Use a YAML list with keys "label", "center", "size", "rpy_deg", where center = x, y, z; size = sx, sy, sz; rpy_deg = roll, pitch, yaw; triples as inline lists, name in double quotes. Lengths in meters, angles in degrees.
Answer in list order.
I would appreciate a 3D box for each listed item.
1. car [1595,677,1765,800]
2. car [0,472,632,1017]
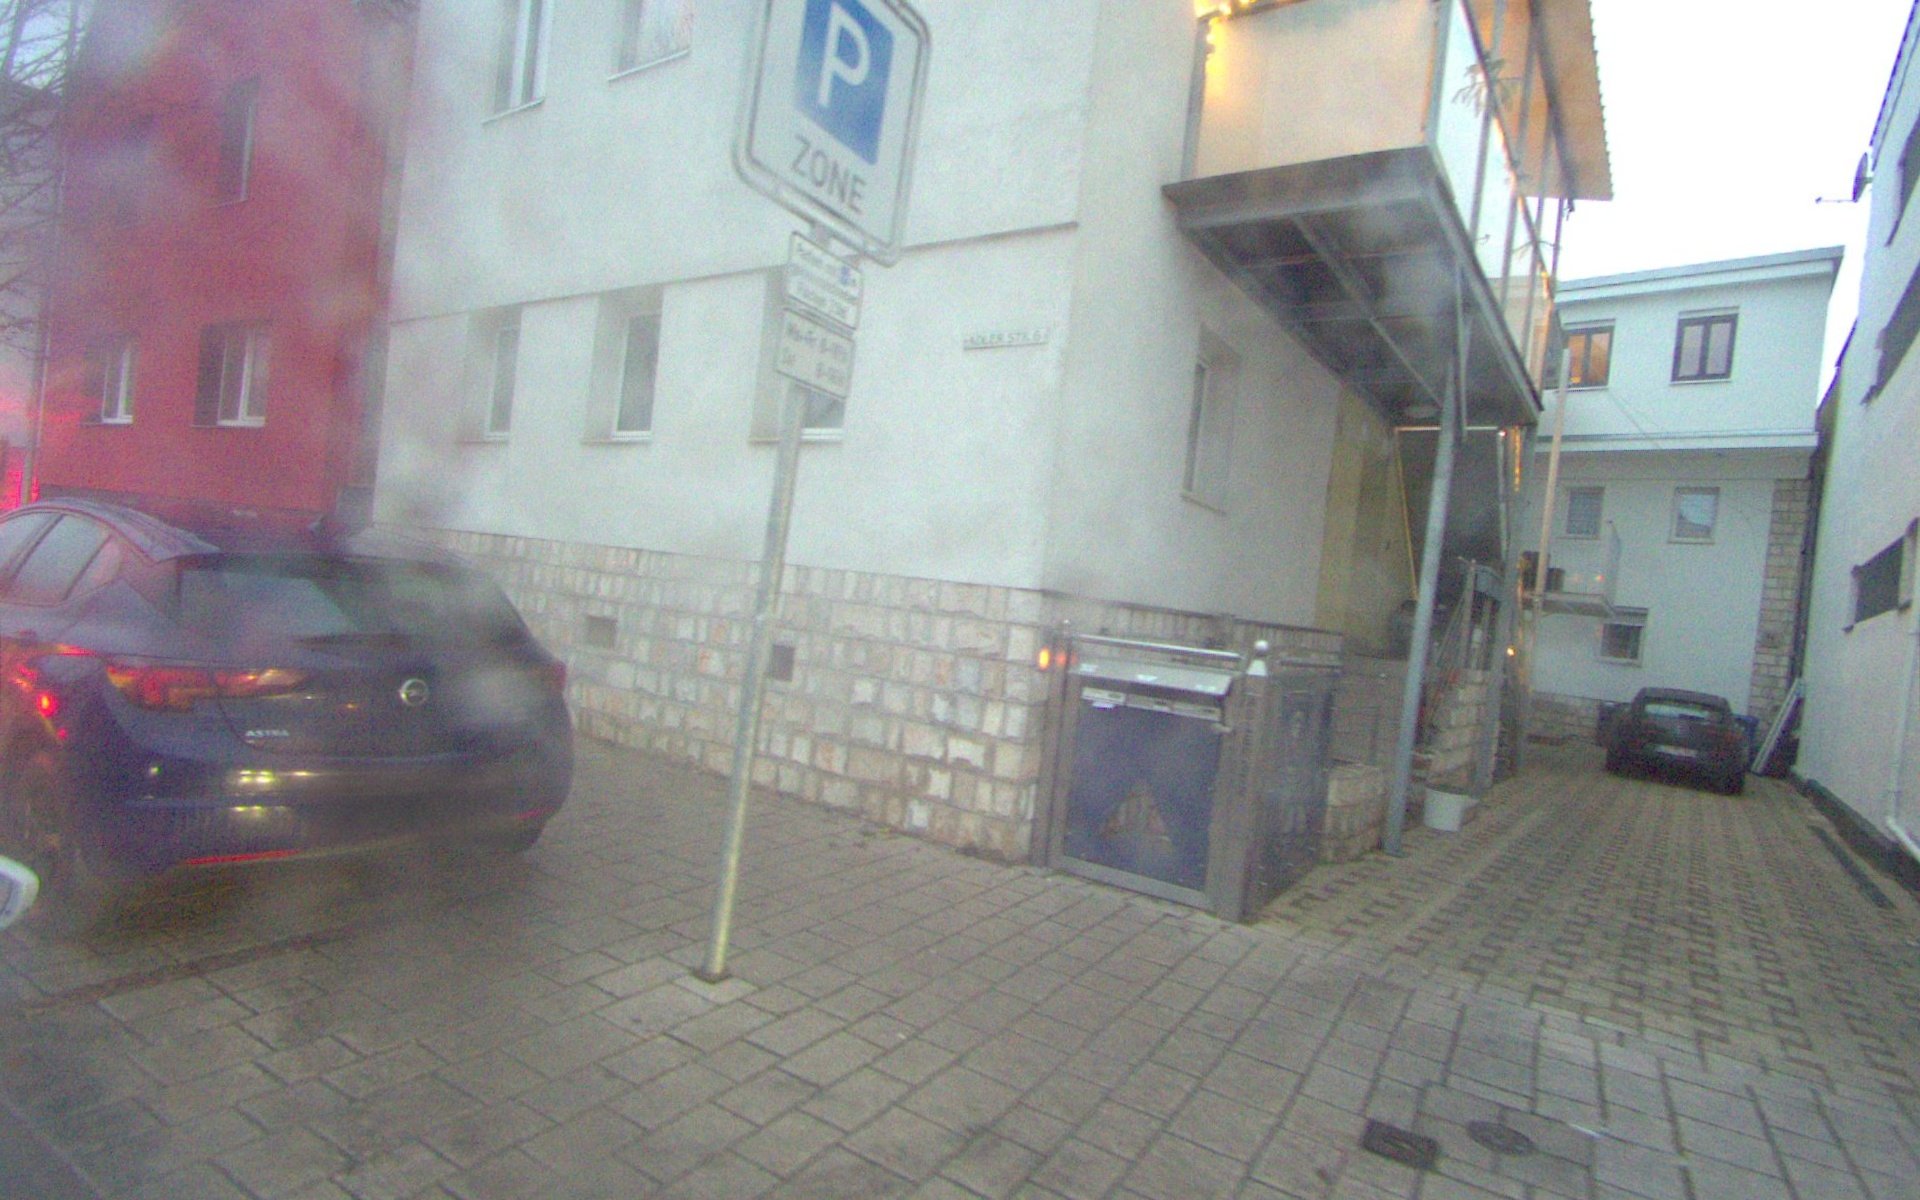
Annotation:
- label: "car"
  center: [11.912, 2.187, 16.812]
  size: [1.906, 1.434, 3.949]
  rpy_deg: [9, 2, 34]
- label: "car"
  center: [-3.622, 0.254, 4.704]
  size: [4.131, 1.484, 1.727]
  rpy_deg: [8, 3, 34]
